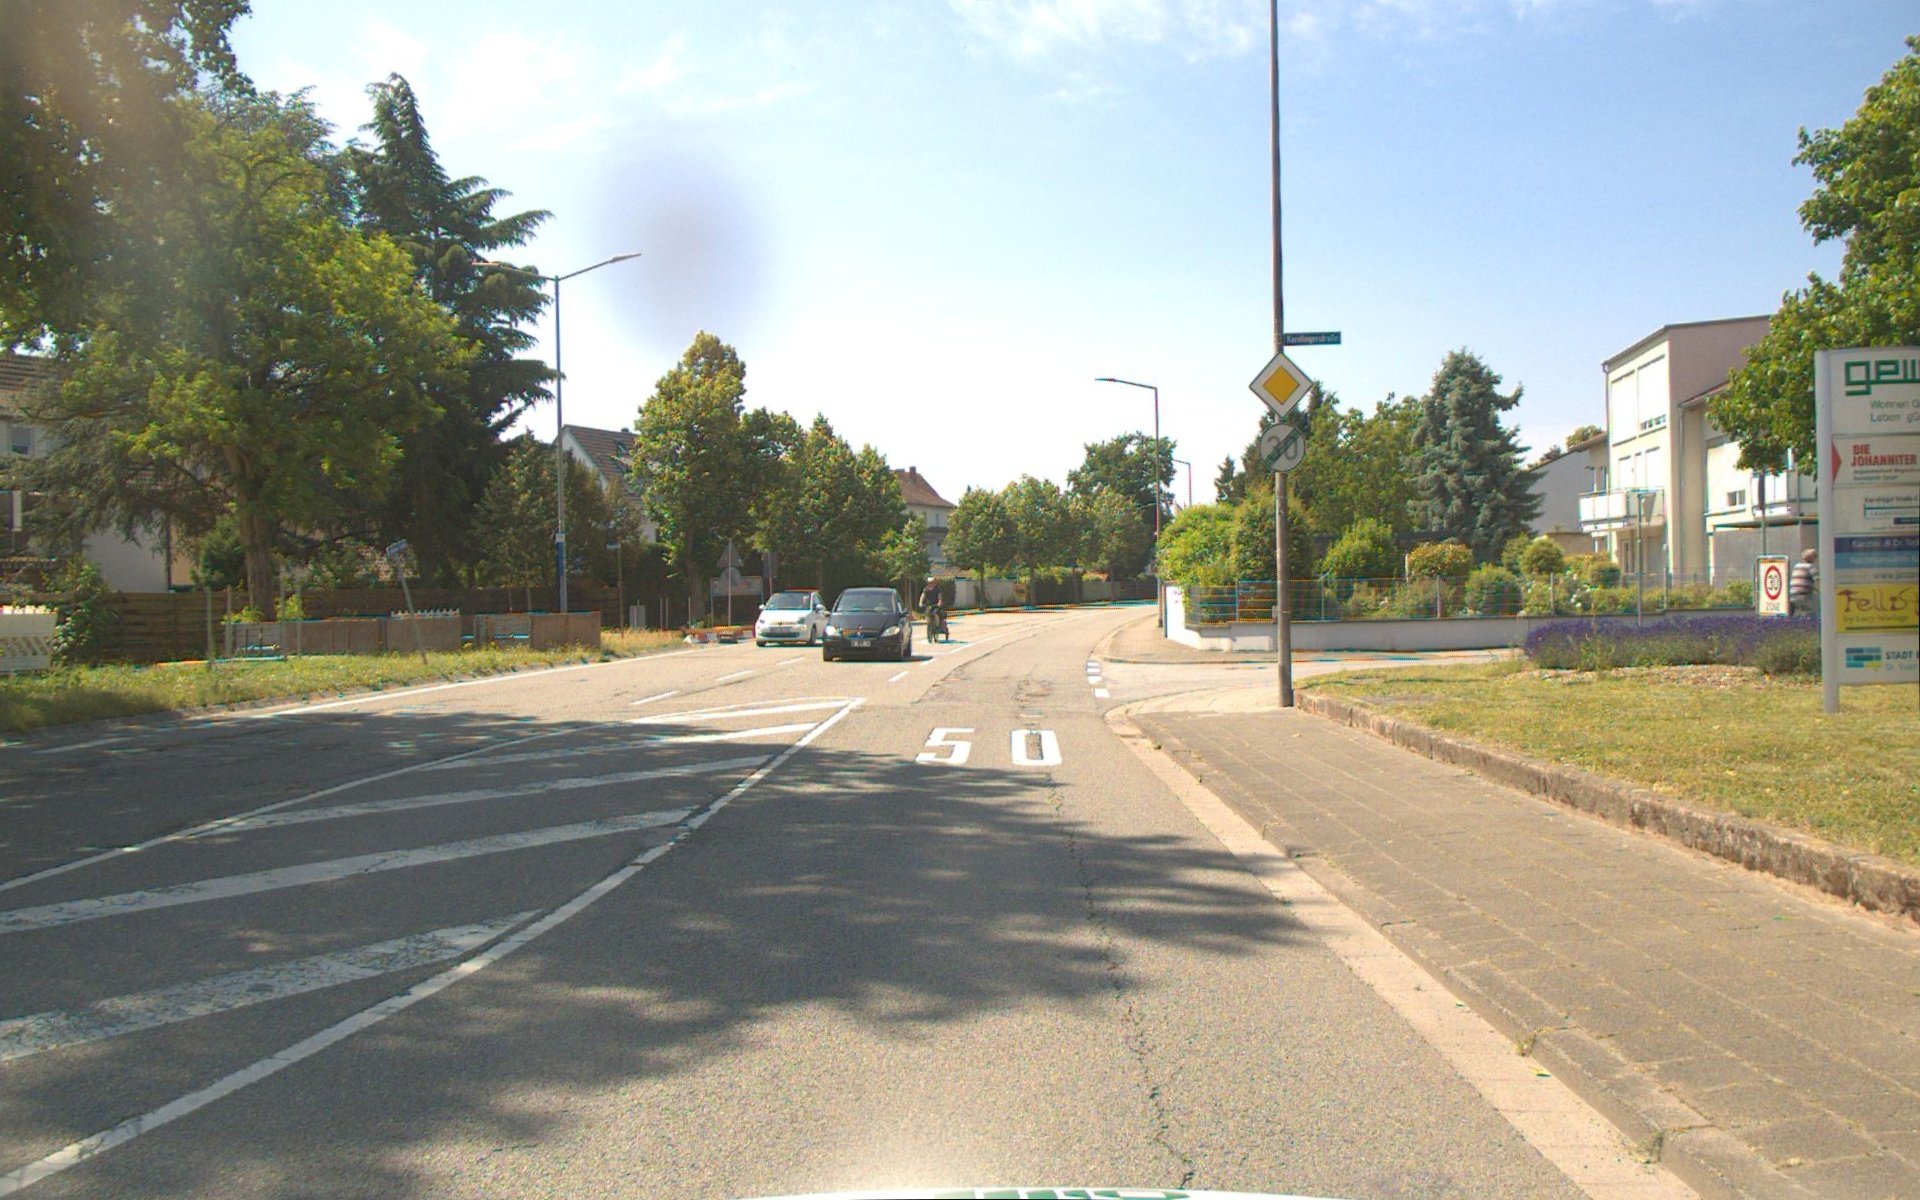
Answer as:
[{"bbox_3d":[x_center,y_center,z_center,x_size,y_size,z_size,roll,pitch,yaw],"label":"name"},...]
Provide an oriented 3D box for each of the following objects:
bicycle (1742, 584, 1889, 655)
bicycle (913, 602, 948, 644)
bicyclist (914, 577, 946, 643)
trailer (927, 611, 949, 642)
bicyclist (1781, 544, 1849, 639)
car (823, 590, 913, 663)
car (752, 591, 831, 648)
[{"bbox_3d":[14.480,0.335,28.020,2.102,1.122,0.813,-2,0,34],"label":"bicycle"},{"bbox_3d":[-0.847,0.653,48.127,0.832,1.186,1.978,-1,0,4],"label":"bicycle"},{"bbox_3d":[-0.859,0.280,48.086,0.828,1.898,0.977,-1,0,4],"label":"bicyclist"},{"bbox_3d":[-0.658,0.795,49.680,0.558,0.871,1.133,-2,0,5],"label":"trailer"},{"bbox_3d":[14.484,-0.142,28.013,0.909,1.557,0.854,-2,0,34],"label":"bicyclist"},{"bbox_3d":[-2.002,0.548,37.025,1.689,1.559,3.831,0,0,2],"label":"car"},{"bbox_3d":[-4.681,0.525,46.425,1.663,1.536,3.460,0,0,3],"label":"car"}]
